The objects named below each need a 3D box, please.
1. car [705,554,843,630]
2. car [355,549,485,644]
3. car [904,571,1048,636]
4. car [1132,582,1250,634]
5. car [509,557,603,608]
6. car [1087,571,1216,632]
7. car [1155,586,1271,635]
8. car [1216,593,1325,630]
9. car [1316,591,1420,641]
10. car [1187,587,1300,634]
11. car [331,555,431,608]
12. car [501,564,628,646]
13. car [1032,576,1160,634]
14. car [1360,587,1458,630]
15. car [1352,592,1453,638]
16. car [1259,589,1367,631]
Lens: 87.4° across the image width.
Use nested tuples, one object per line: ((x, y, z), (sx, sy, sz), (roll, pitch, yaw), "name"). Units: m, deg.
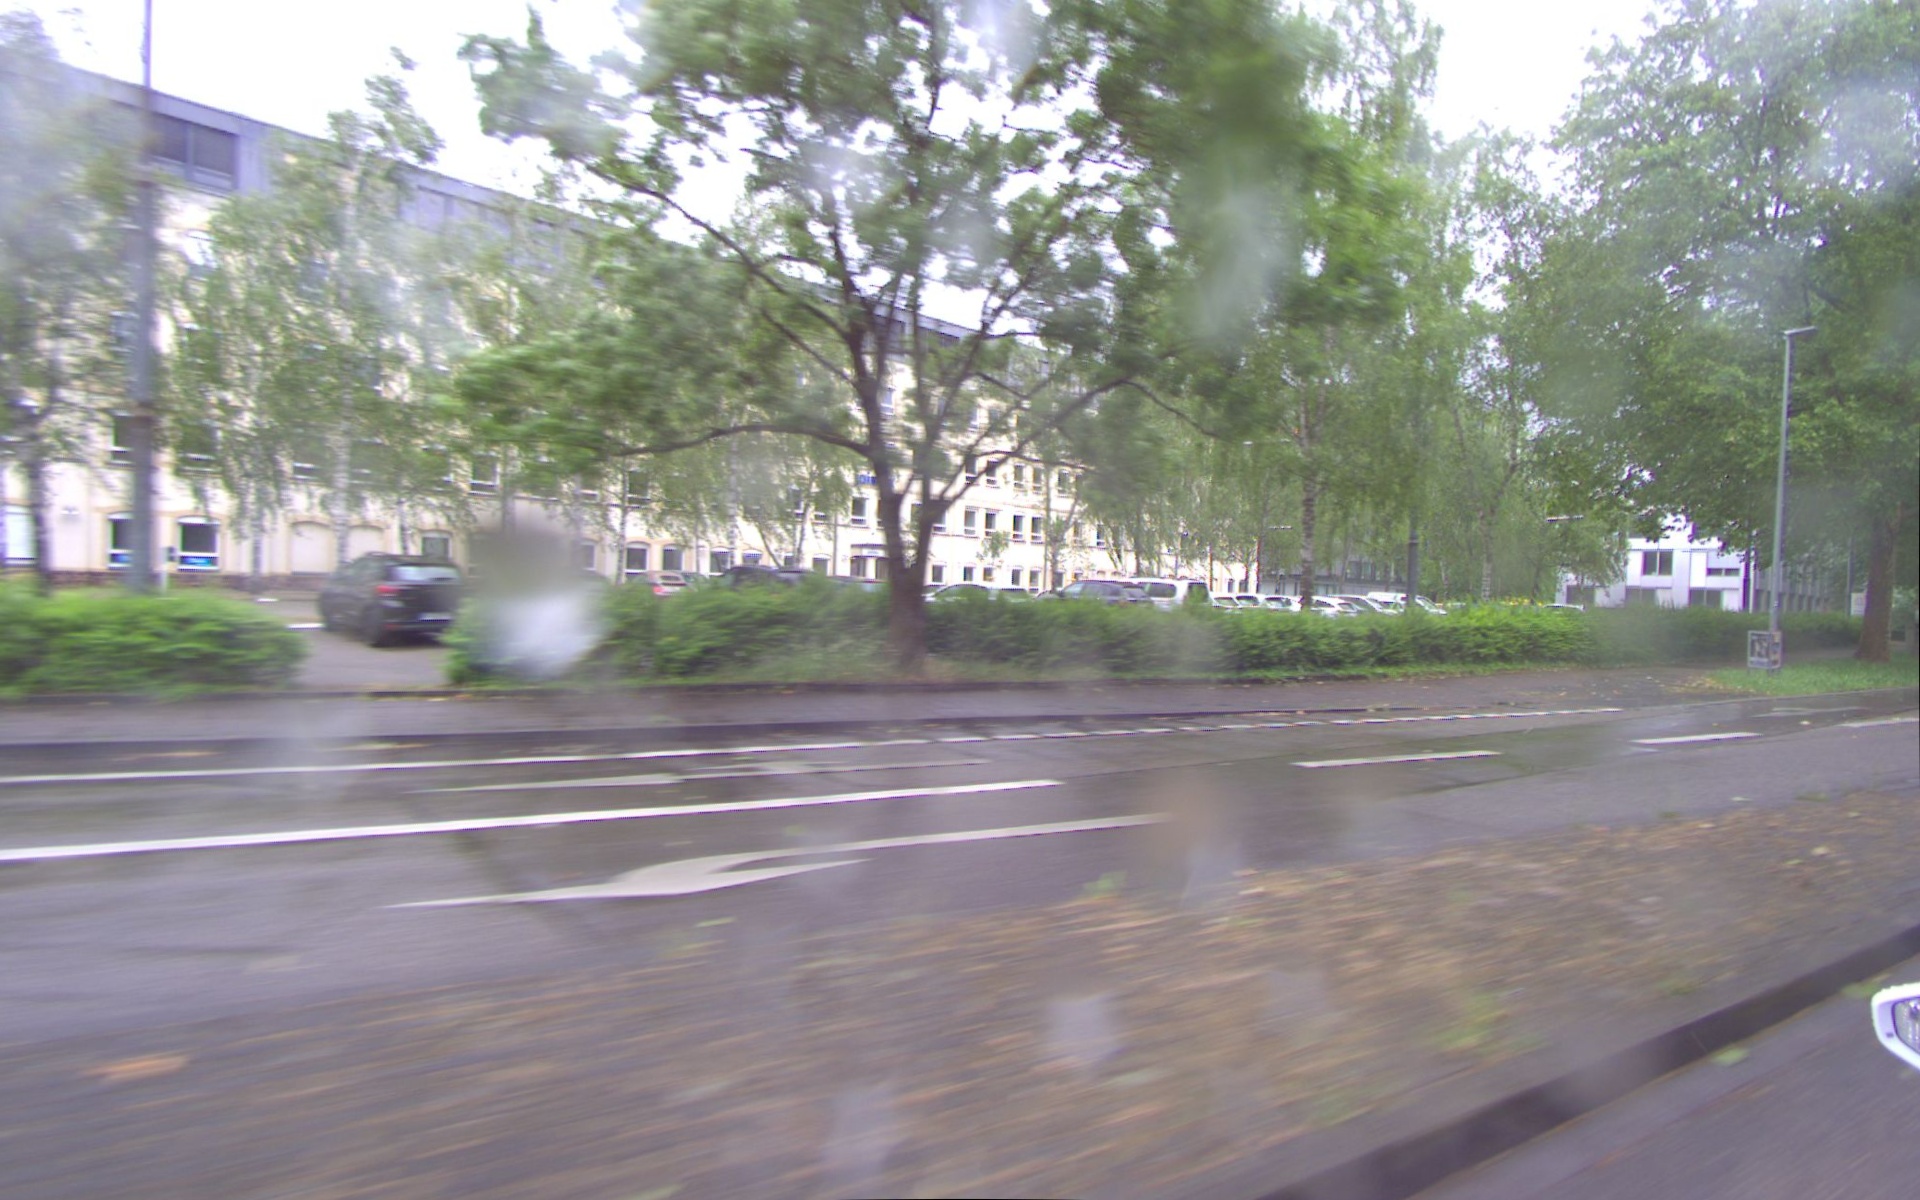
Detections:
((-4.511, -0.227, 23.975), (1.636, 1.633, 3.958), (1, 2, -37), "car")
((-10.090, -0.120, 18.818), (1.901, 1.558, 3.969), (2, 2, -29), "car")
((0.418, 0.073, 29.367), (1.987, 1.660, 3.947), (1, 2, -44), "car")
((8.258, 0.264, 36.108), (1.707, 1.620, 3.769), (1, 2, -43), "car")
((-14.679, -0.625, 36.408), (1.984, 1.708, 3.952), (1, 0, -41), "car")
((6.496, 0.030, 34.298), (1.842, 1.857, 3.947), (1, 2, -44), "car")
((9.608, 0.380, 38.336), (1.839, 1.620, 3.953), (1, 2, -40), "car")
((12.768, 0.455, 41.455), (1.869, 1.392, 3.956), (2, 0, -38), "car")
((18.615, 0.700, 45.948), (1.983, 2.161, 3.954), (1, 0, -39), "car")
((11.186, 0.402, 39.817), (1.839, 1.620, 3.953), (1, 2, -40), "car")
((-18.564, -0.592, 32.131), (1.986, 1.539, 3.950), (1, 0, -42), "car")
((-8.098, 0.057, 20.364), (1.901, 1.442, 3.969), (2, 2, -29), "car")
((4.344, 0.128, 32.588), (1.695, 1.660, 3.953), (1, 2, -40), "car")
((22.351, 0.412, 50.073), (1.984, 2.040, 3.954), (1, 0, -40), "car")
((21.027, 0.690, 47.834), (1.984, 2.040, 3.954), (1, 0, -40), "car")
((14.979, 0.403, 42.765), (1.869, 1.571, 3.956), (2, 1, -38), "car")
